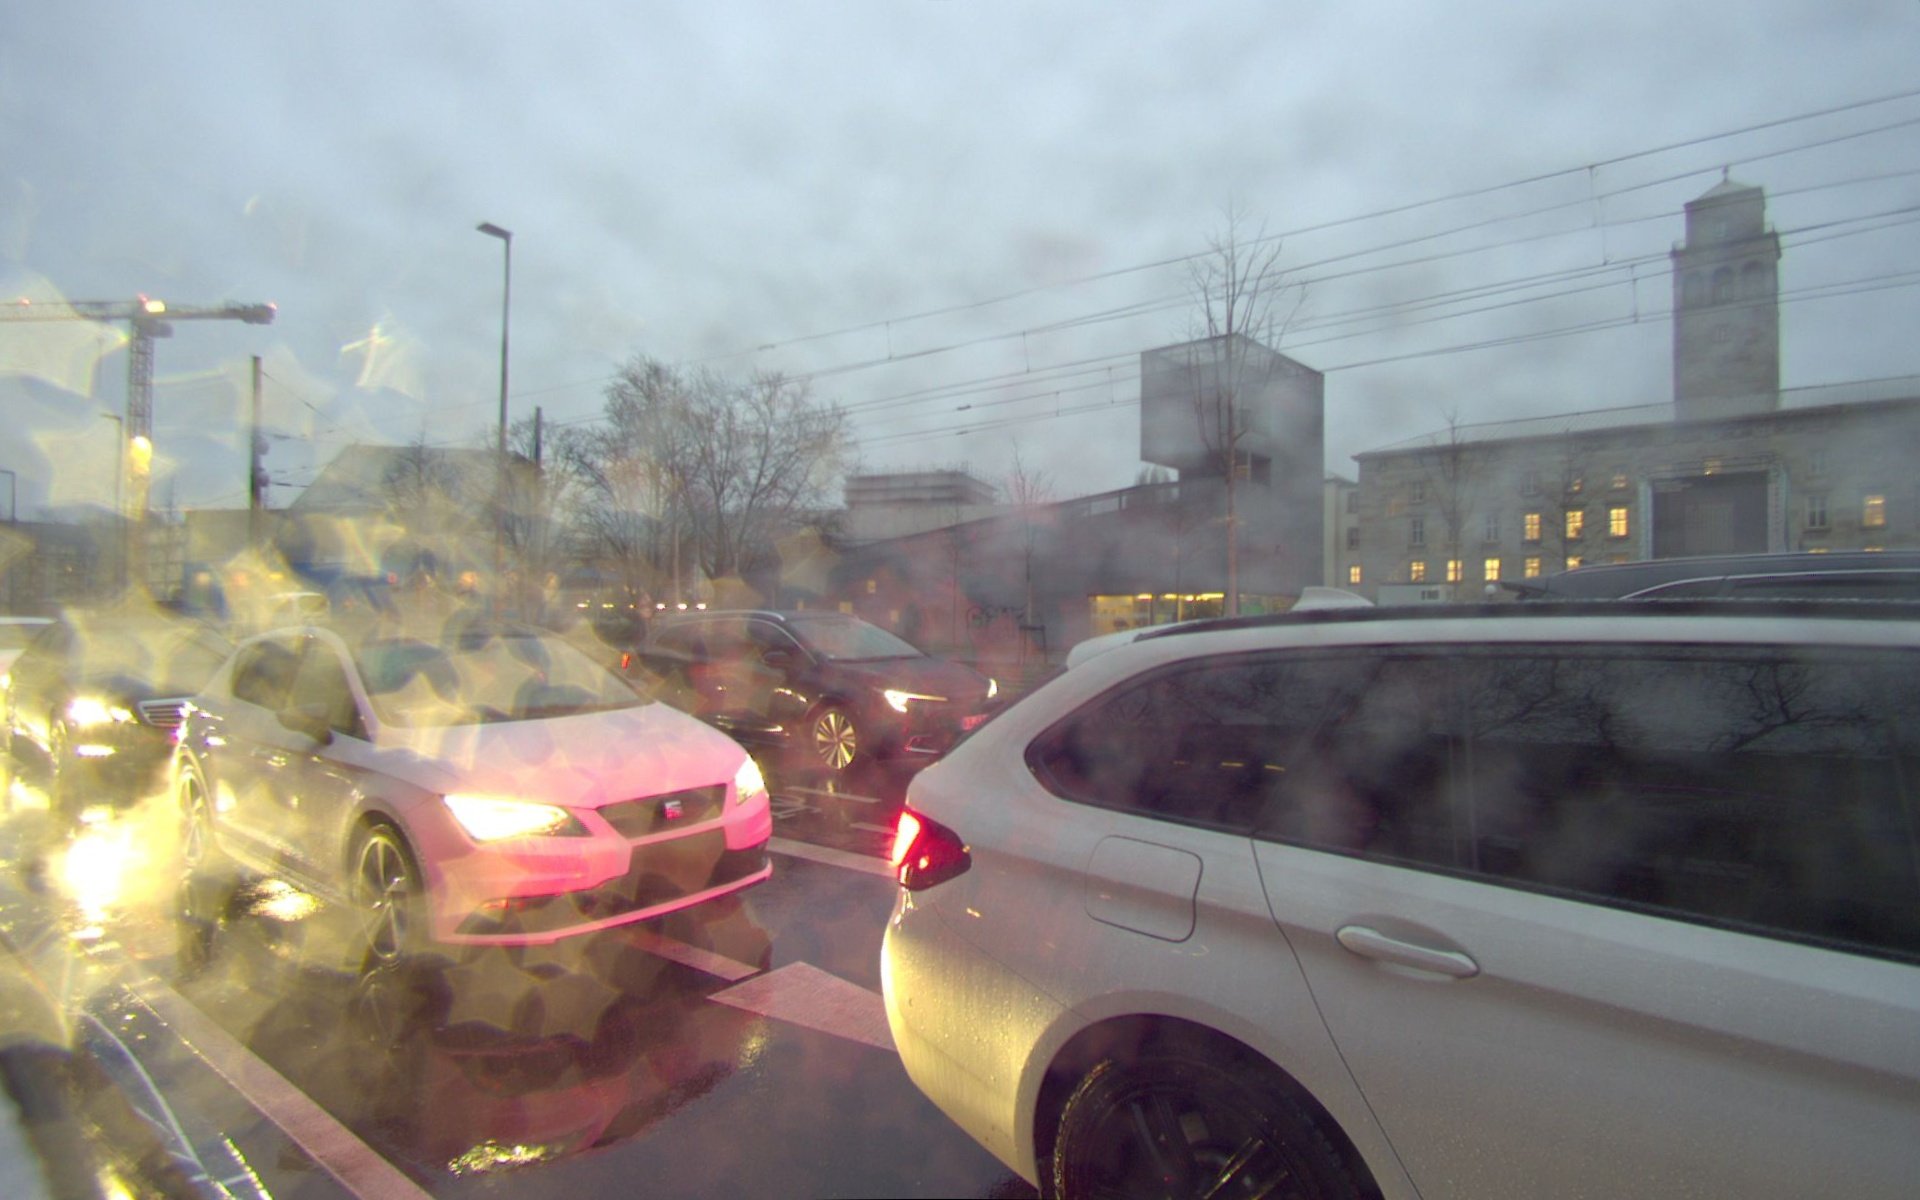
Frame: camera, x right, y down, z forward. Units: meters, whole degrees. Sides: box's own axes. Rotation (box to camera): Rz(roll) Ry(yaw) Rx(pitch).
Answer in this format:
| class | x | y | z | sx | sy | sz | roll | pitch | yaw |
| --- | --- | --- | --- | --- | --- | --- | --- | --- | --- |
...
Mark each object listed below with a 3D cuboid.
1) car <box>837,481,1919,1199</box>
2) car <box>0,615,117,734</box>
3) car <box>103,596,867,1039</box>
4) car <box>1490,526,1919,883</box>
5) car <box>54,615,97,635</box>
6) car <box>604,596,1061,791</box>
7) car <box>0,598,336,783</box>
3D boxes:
| class | x | y | z | sx | sy | sz | roll | pitch | yaw |
| --- | --- | --- | --- | --- | --- | --- | --- | --- | --- |
| car | 2.082 | 0.625 | 1.644 | 4.557 | 1.498 | 1.996 | -1 | -2 | 41 |
| car | -14.272 | 1.039 | 15.202 | 3.998 | 1.586 | 1.882 | -1 | 0 | 41 |
| car | -2.834 | 0.770 | 5.579 | 4.497 | 1.498 | 1.926 | -1 | 0 | 37 |
| car | 5.226 | 0.474 | 4.997 | 4.289 | 1.596 | 1.946 | -1 | -1 | 42 |
| car | -83.440 | 2.369 | 95.453 | 3.989 | 1.910 | 2.072 | -1 | -2 | 34 |
| car | -1.439 | 0.751 | 10.074 | 4.659 | 1.519 | 1.830 | 0 | -1 | 39 |
| car | -8.385 | 0.788 | 10.420 | 4.501 | 1.498 | 1.974 | -1 | -2 | 39 |
